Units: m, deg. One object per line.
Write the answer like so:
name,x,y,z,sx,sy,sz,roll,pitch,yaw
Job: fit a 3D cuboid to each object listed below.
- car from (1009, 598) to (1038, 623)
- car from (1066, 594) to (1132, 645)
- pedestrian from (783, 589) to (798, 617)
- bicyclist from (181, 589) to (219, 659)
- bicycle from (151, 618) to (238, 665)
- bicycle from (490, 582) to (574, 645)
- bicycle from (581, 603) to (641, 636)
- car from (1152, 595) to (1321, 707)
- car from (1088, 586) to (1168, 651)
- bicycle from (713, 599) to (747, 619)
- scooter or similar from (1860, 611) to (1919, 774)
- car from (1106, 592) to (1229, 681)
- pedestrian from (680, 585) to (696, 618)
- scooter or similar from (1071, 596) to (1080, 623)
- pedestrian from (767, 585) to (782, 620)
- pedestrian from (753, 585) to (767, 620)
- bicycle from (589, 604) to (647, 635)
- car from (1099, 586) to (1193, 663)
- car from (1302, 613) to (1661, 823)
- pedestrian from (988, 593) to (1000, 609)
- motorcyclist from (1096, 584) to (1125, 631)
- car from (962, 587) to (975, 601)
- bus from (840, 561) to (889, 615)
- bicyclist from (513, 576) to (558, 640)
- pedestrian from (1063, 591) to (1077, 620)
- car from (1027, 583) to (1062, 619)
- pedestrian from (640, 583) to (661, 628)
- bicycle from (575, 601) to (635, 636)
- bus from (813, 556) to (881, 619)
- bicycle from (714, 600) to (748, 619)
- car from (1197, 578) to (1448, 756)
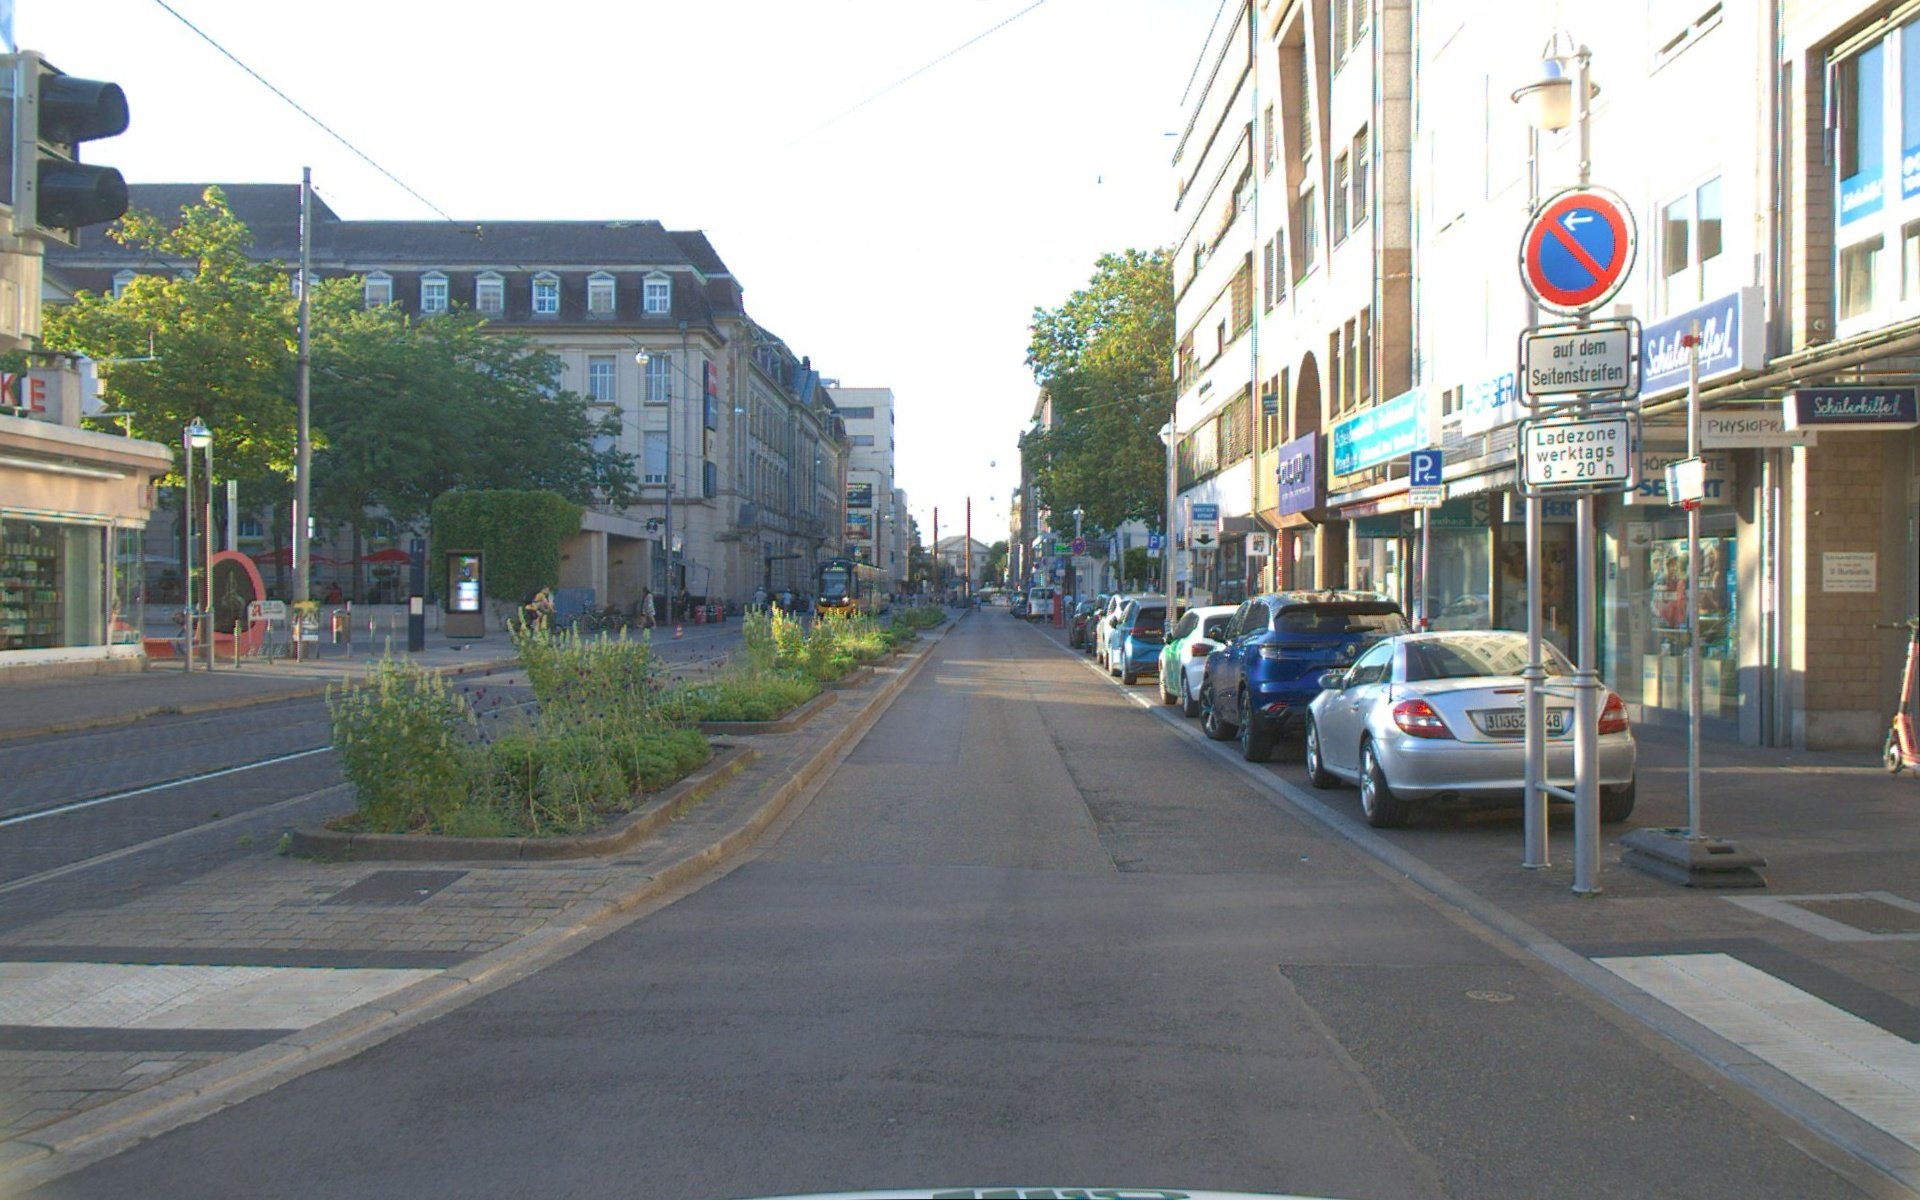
car,4.621,0.773,120.998,1.952,1.791,4.421,0,0,1
car,4.241,0.569,51.038,1.621,1.404,4.341,-4,0,0
pedestrian,-10.698,0.183,104.396,0.798,1.737,0.762,0,-2,1
bicyclist,-18.824,0.599,40.973,0.698,1.698,0.619,1,-2,-40
bicycle,-18.918,1.015,40.907,1.918,1.131,0.454,1,-2,-40
bicycle,-12.327,0.386,47.660,2.349,1.770,0.593,0,0,-43
bicycle,-13.612,0.777,64.487,2.195,1.277,0.579,0,-2,1
car,3.860,0.712,23.736,1.695,1.460,4.151,0,-1,-1
car,4.469,0.465,44.616,1.739,1.565,4.579,0,2,1
bicycle,-14.105,0.559,101.494,2.055,1.168,0.574,0,-2,-4
scooter or similar,7.403,0.702,12.406,0.450,1.204,1.572,0,1,0
car,3.894,0.646,31.800,1.772,1.579,4.836,0,0,0
pedestrian,-14.019,0.098,85.181,0.704,1.674,0.656,1,0,-21
scooter or similar,5.284,0.433,75.676,0.308,1.243,1.273,0,0,8
pedestrian,-10.115,0.154,90.060,0.718,1.873,0.715,0,-1,1
pedestrian,-10.896,0.143,90.061,0.678,1.880,0.662,0,-2,1
bicycle,-13.681,0.786,66.152,2.195,1.253,0.585,0,-1,1
car,4.154,0.511,37.547,1.779,1.613,4.724,0,0,2
car,3.695,0.758,12.437,1.639,1.305,4.065,0,0,3
pedestrian,4.334,0.152,211.313,1.209,1.962,1.018,0,0,-15
motorcyclist,6.072,0.302,66.608,0.981,1.845,0.960,-1,-2,19
car,1.239,-0.814,238.508,1.724,1.859,3.570,0,-2,1
bus,-6.749,-0.858,117.929,2.764,3.688,8.291,0,1,1
bicyclist,-12.239,0.231,47.700,0.925,1.807,0.955,0,0,-43
pedestrian,6.914,0.348,104.110,0.771,1.782,0.893,0,-2,-6
car,4.911,0.082,96.194,1.876,2.016,4.421,0,0,1
pedestrian,-13.626,0.247,72.834,0.709,1.968,0.793,0,-2,4
bicycle,-13.514,0.716,62.959,2.151,1.323,0.579,0,-2,1
bus,-7.009,-0.768,105.246,2.764,3.715,17.075,0,0,1
bicycle,-14.157,0.575,102.162,2.036,1.168,0.574,0,-2,-4
car,3.626,0.603,17.291,1.728,1.633,4.287,0,0,0
